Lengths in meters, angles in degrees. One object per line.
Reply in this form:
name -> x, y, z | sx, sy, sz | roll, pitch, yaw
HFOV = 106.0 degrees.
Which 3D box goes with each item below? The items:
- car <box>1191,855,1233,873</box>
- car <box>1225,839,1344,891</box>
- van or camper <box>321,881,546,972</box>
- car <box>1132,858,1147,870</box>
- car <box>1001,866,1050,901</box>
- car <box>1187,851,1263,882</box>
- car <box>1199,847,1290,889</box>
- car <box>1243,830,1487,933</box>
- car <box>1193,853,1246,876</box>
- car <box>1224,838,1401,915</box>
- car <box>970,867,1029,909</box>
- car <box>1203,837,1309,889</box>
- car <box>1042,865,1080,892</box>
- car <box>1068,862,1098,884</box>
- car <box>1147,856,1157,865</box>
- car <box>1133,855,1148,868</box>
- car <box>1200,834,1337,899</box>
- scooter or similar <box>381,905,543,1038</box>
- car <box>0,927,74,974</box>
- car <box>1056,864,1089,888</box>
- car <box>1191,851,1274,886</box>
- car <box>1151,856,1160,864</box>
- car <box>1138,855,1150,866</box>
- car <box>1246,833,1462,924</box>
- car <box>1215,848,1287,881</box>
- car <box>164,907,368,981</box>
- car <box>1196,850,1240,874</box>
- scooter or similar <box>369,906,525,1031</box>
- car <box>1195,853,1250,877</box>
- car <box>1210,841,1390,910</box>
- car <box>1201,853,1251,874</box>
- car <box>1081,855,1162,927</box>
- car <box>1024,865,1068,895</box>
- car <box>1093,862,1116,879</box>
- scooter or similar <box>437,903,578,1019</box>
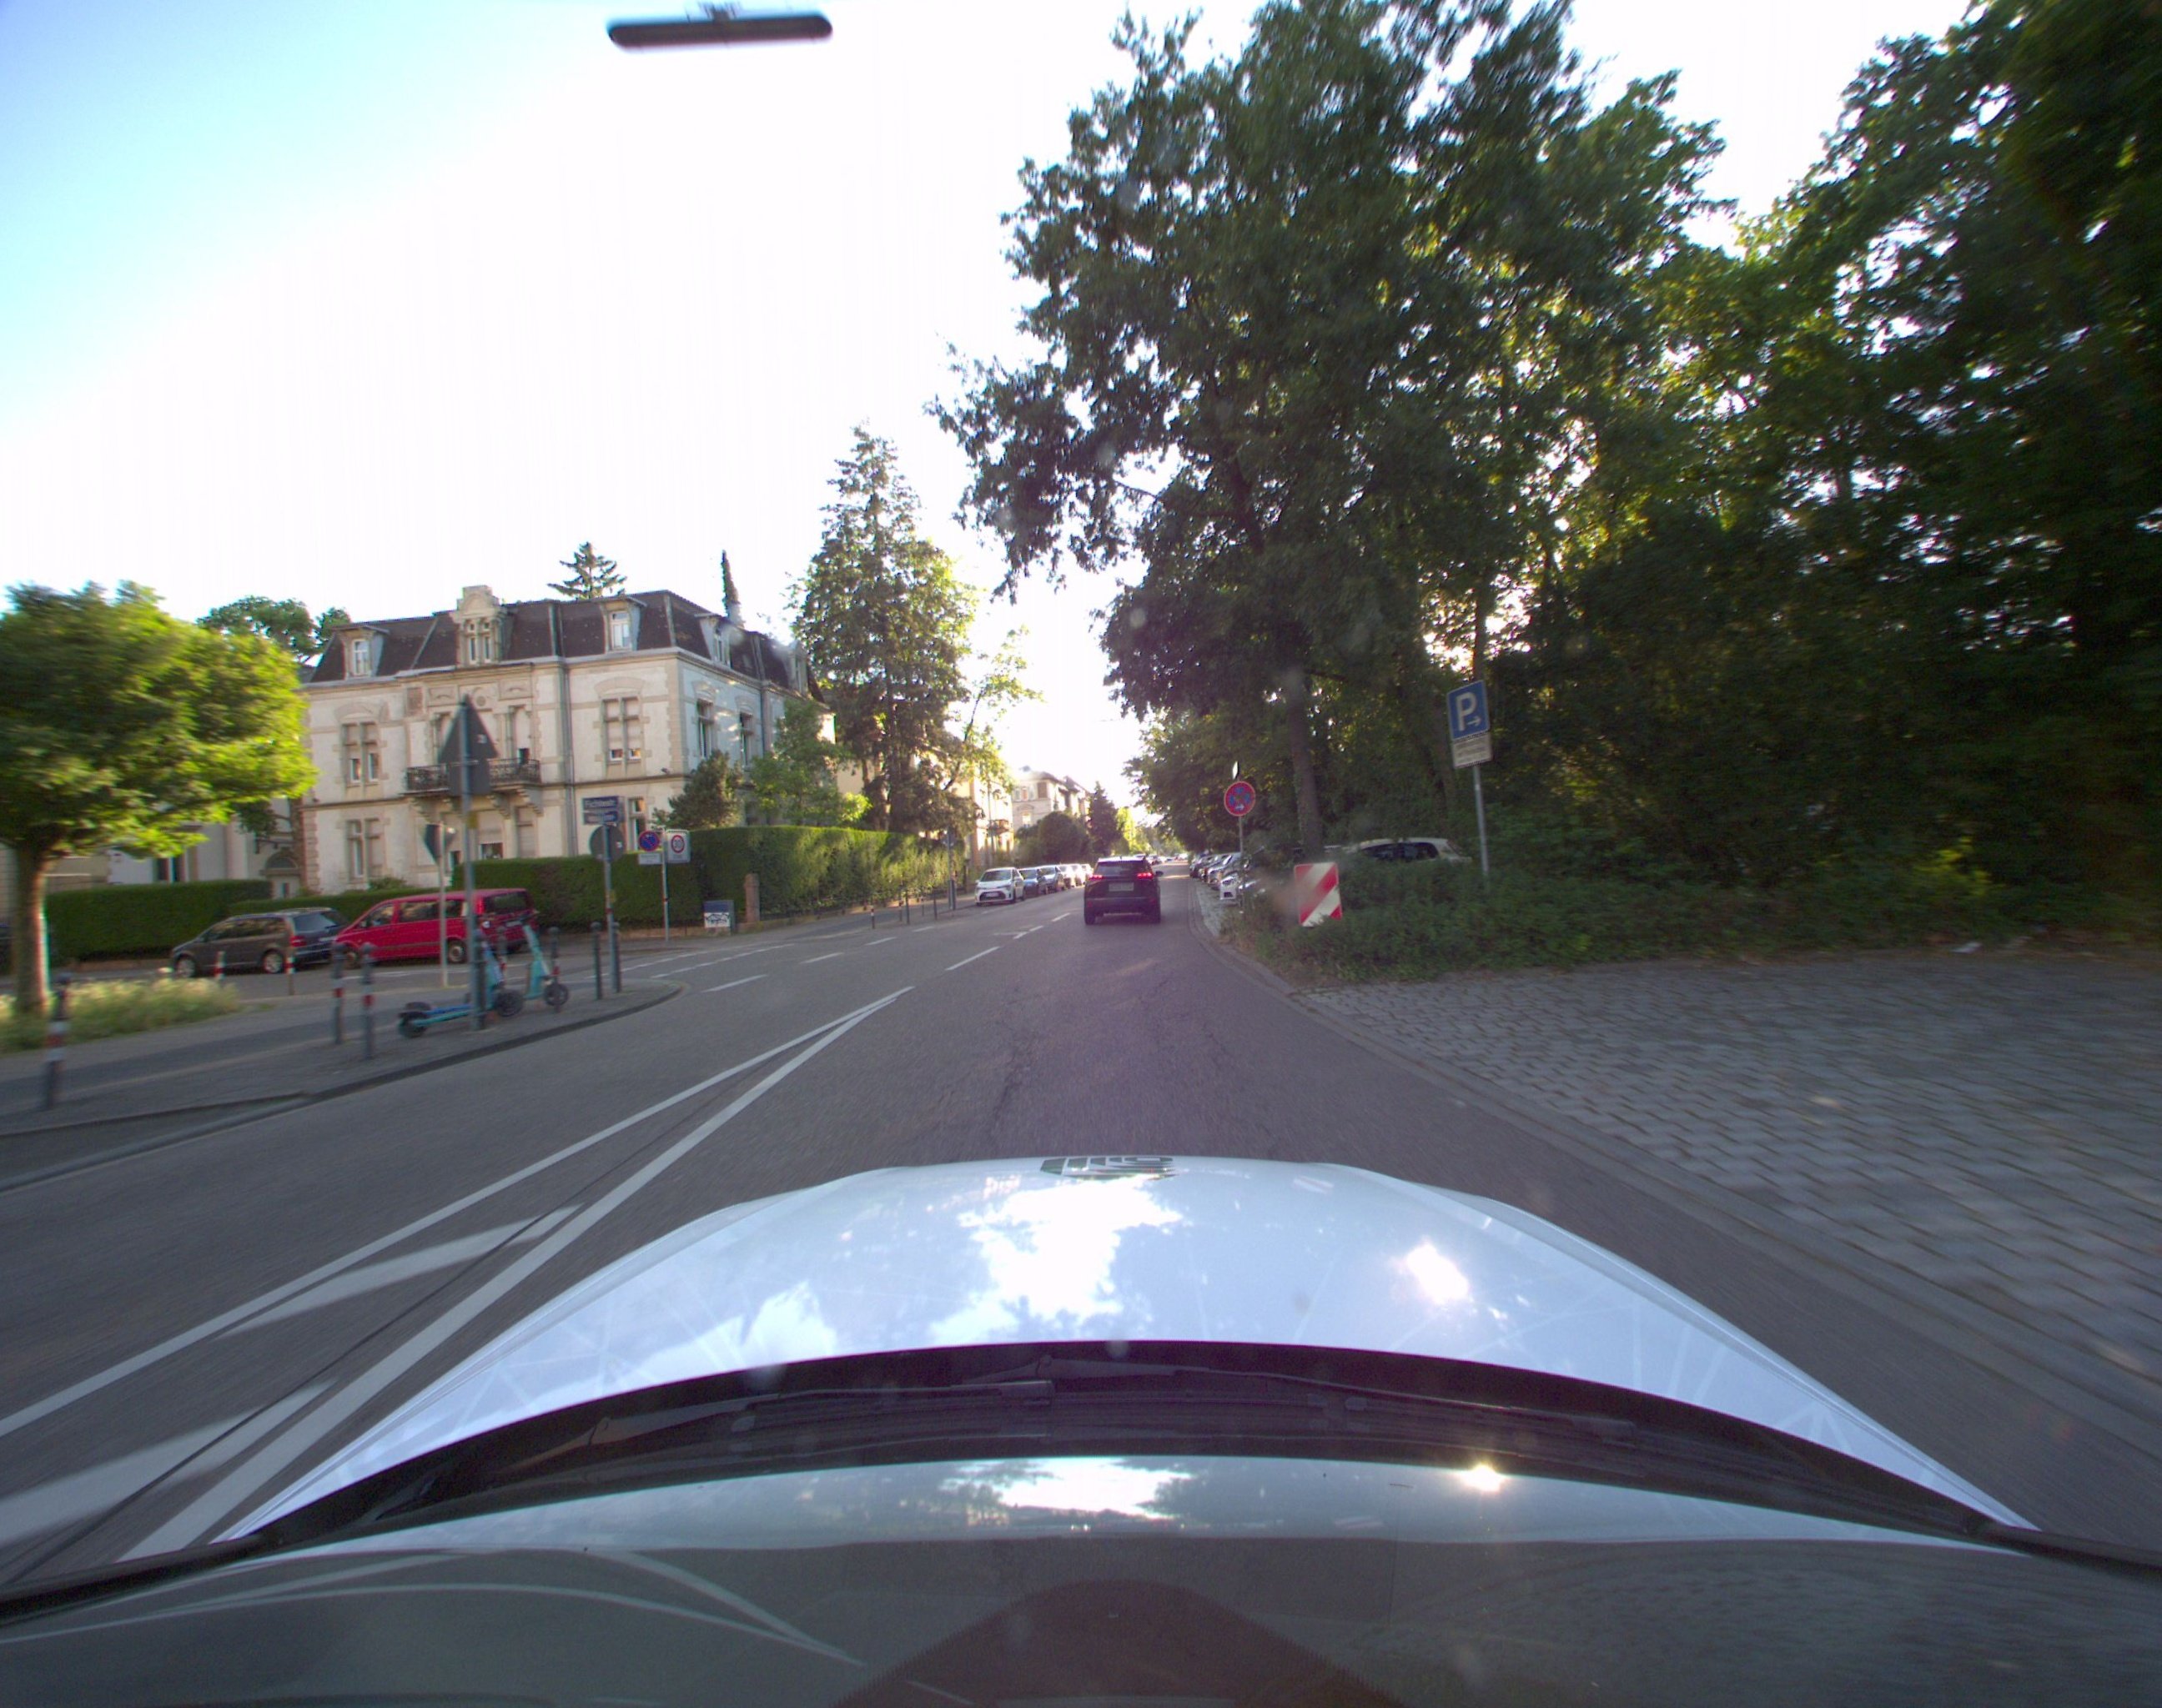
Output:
car -> 13.304, 1.034, 82.669 | 3.971, 1.526, 1.759 | -3, -1, 2
car -> 7.373, 0.445, 29.858 | 3.966, 1.555, 1.728 | -4, -3, 7
van or camper -> -17.854, 1.977, 22.581 | 4.740, 1.985, 2.006 | -4, 3, 9
car -> 8.744, 1.491, 121.388 | 1.889, 1.574, 4.008 | -3, -1, 7
car -> -2.663, 1.409, 39.754 | 1.605, 1.485, 3.749 | -4, -1, 7
car -> 8.494, 0.732, 48.332 | 4.223, 1.449, 2.024 | -5, -1, 5
car -> 7.612, 0.650, 38.242 | 3.966, 1.554, 1.729 | -6, -1, 7
car -> 5.174, 0.495, 15.281 | 3.966, 1.554, 1.729 | -4, 0, 7
car -> 11.126, 0.844, 65.698 | 3.971, 1.624, 1.759 | -3, -1, 2
car -> 5.674, 0.533, 20.377 | 3.966, 1.554, 1.756 | -4, 0, 7
car -> -3.334, 1.366, 34.091 | 1.606, 1.515, 3.717 | -6, -1, 5
car -> 7.557, 0.404, 35.572 | 4.223, 1.789, 1.887 | -6, -1, 7
car -> -1.200, 1.452, 50.225 | 1.605, 1.466, 4.044 | -4, -1, 8
car -> 0.155, 1.404, 60.352 | 1.605, 1.466, 4.044 | -4, -1, 8
car -> 15.800, 1.423, 182.339 | 1.983, 1.816, 4.008 | -3, -1, 7
car -> 9.729, 1.204, 132.125 | 1.982, 2.014, 4.009 | -3, -1, 8
car -> 6.369, 0.419, 28.170 | 4.285, 1.804, 2.039 | -5, -1, 6
scooter or similar -> -6.875, 1.265, 9.089 | 0.426, 1.275, 1.352 | -4, -2, 42
car -> -41.053, 3.765, 30.247 | 1.982, 1.463, 4.011 | -4, 2, 9
car -> -0.558, 1.490, 55.520 | 1.605, 1.466, 4.044 | -4, -1, 8
car -> 8.044, 0.772, 43.288 | 4.131, 1.449, 1.736 | -5, -1, 10
car -> 18.424, 1.511, 200.973 | 1.983, 1.816, 4.008 | -3, -1, 7
car -> 11.170, 1.191, 143.935 | 1.983, 1.768, 4.007 | -3, -1, 7
car -> 5.620, 0.496, 17.181 | 3.966, 1.554, 1.729 | -4, 0, 7
car -> 9.477, 0.575, 45.521 | 3.784, 1.449, 1.831 | -5, -1, 10
car -> -22.904, 2.510, 22.978 | 3.967, 1.673, 1.923 | -4, -1, 6
car -> 13.415, 0.812, 79.832 | 3.971, 2.089, 1.759 | -3, -1, 2
scooter or similar -> -7.369, 1.301, 9.527 | 1.347, 1.275, 0.428 | -3, -1, -28
car -> 10.474, 0.795, 60.456 | 3.792, 1.449, 1.827 | -5, -1, 3
car -> 6.046, 0.585, 22.826 | 4.473, 1.554, 1.855 | -4, -1, -2
car -> 12.495, 0.830, 70.402 | 3.971, 1.624, 1.759 | -3, -1, 2
car -> 0.945, 0.824, 20.064 | 1.765, 1.568, 4.109 | -1, 0, 1
car -> -1.878, 1.375, 44.480 | 1.605, 1.466, 4.044 | -4, -1, 8
car -> 2.197, 1.516, 76.507 | 1.744, 1.413, 3.770 | -6, -1, 6
scooter or similar -> -7.131, 1.306, 10.184 | 1.347, 1.275, 0.428 | -3, -1, -28
